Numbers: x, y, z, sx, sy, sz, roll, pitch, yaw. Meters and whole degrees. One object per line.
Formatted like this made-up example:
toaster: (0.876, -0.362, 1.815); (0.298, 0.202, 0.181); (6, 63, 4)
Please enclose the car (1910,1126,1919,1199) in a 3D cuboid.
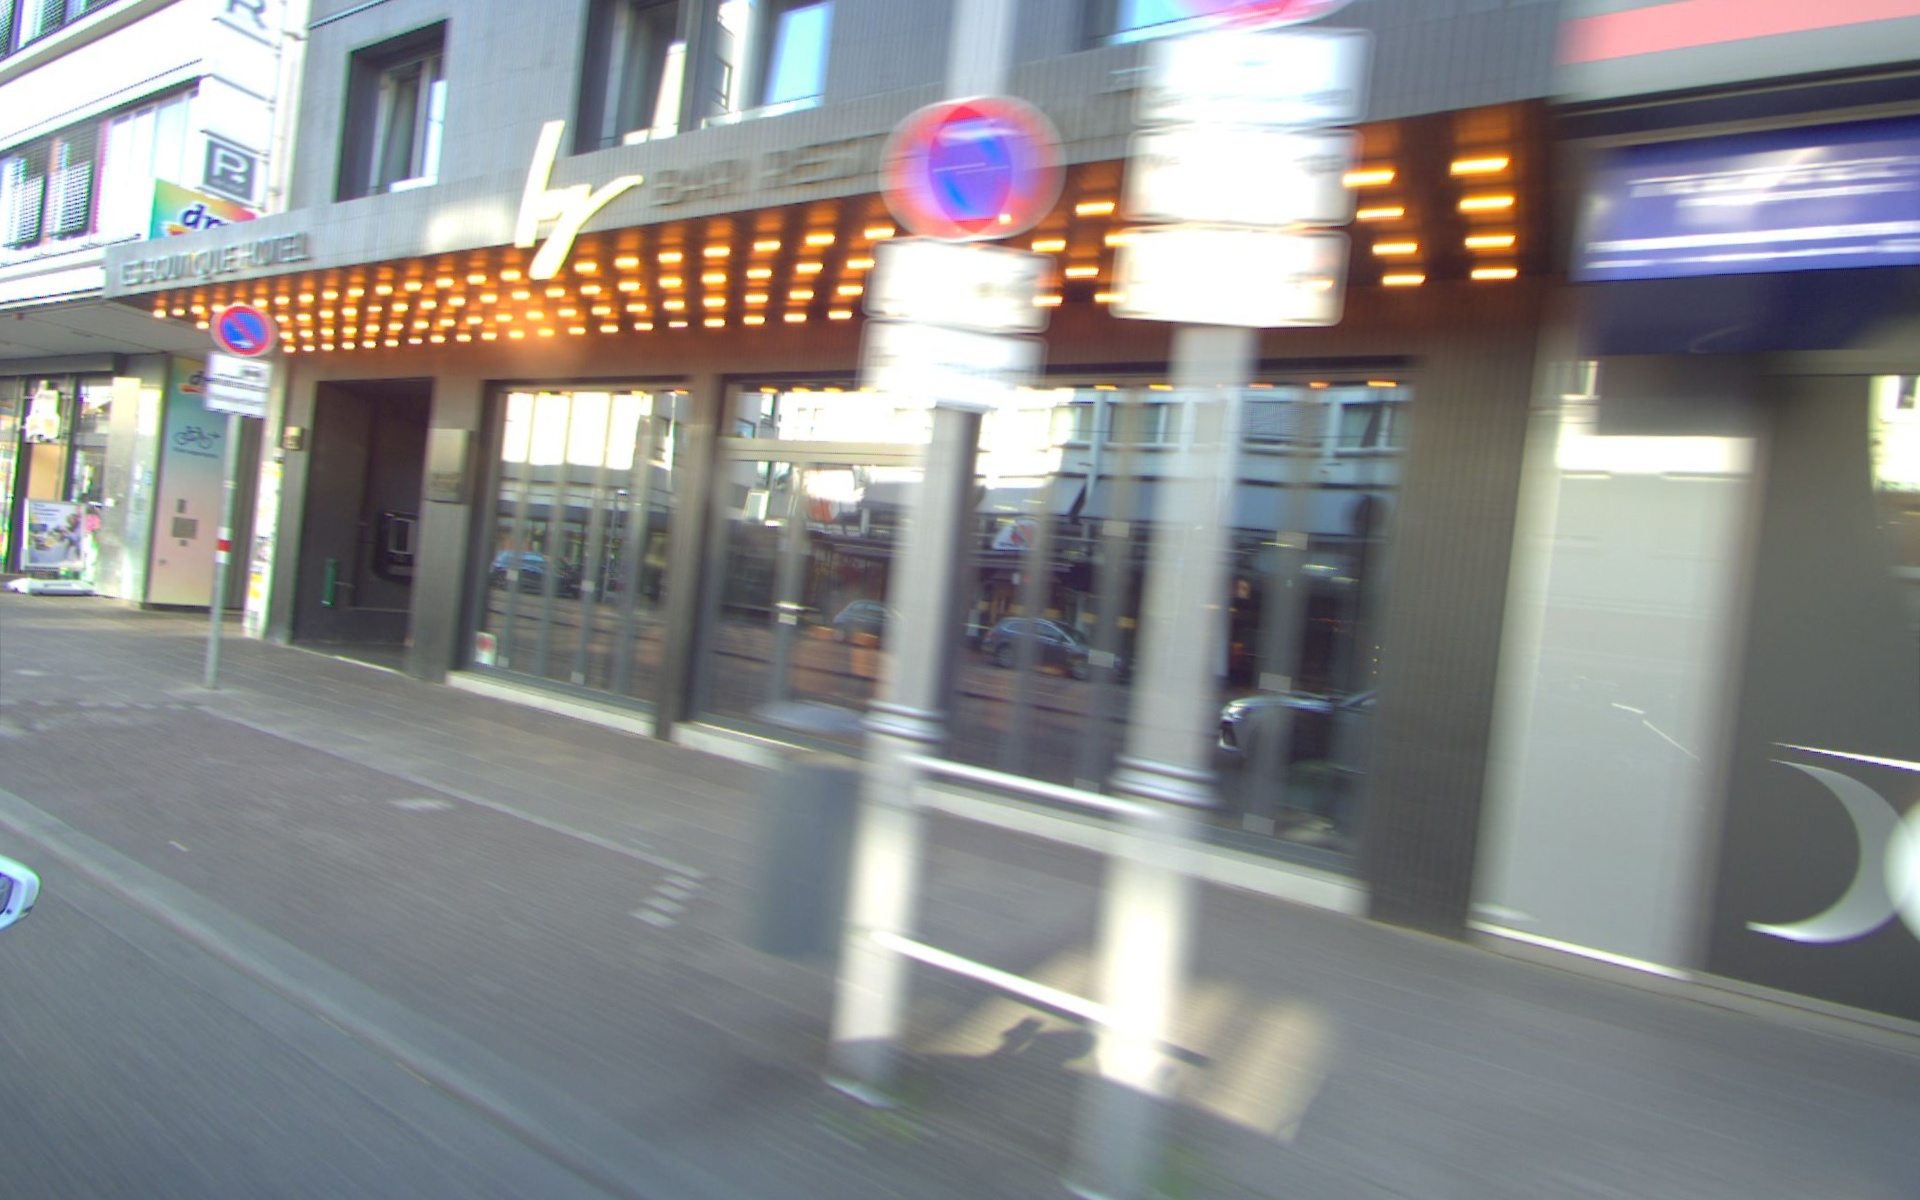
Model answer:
car: (3.893, 1.176, 0.689); (4.342, 1.504, 1.722); (6, 2, 31)
